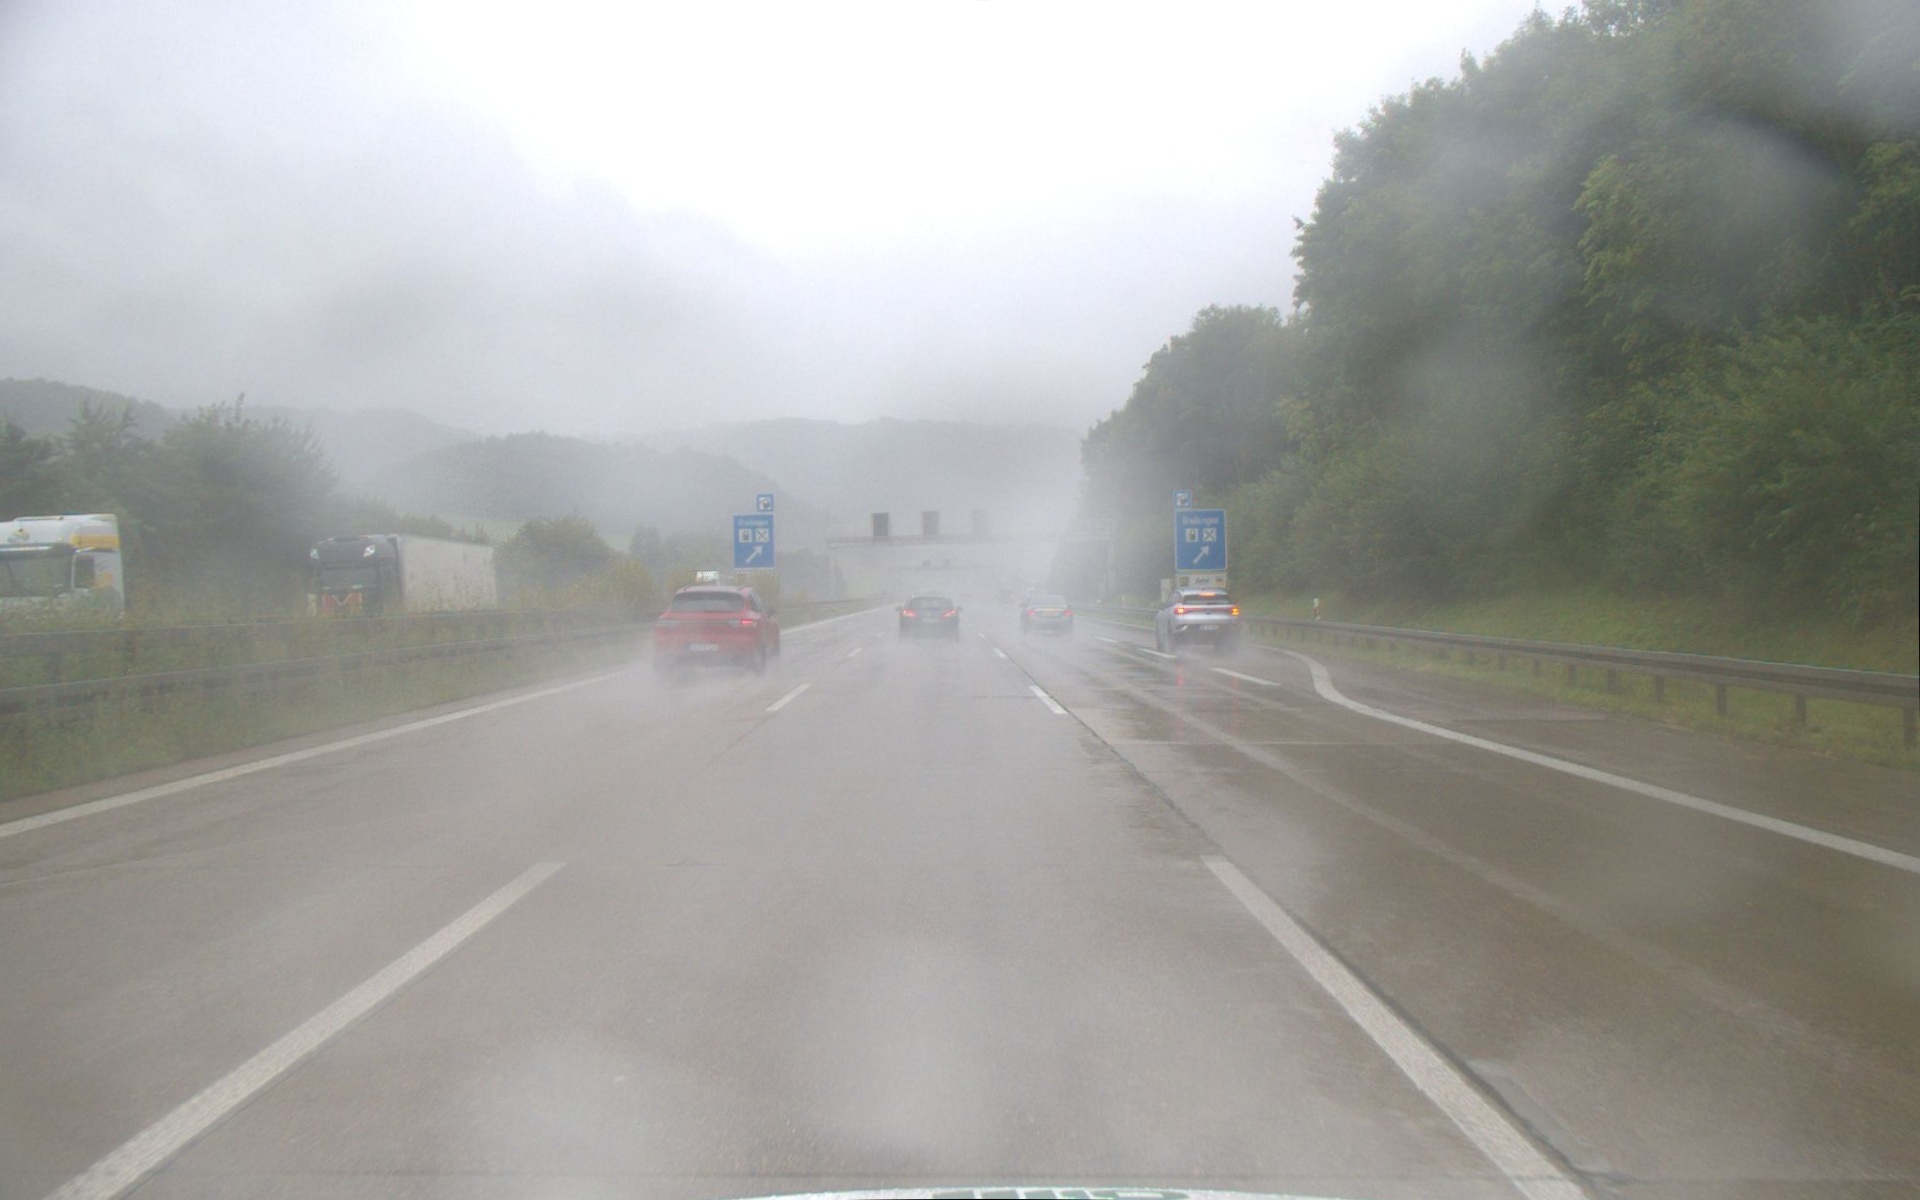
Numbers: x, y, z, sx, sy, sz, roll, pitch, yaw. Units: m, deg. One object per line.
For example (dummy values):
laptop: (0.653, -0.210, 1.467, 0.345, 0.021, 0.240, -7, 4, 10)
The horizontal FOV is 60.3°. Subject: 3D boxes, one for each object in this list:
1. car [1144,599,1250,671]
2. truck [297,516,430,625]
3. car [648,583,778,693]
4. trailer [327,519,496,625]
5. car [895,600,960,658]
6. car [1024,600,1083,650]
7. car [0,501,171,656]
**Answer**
car: (6.246, 0.890, 44.227, 1.953, 1.781, 5.661, 1, 0, -1)
truck: (-20.507, -0.987, 57.173, 2.758, 3.571, 5.727, 0, 0, -3)
car: (-4.361, 0.628, 29.716, 1.846, 1.847, 3.999, 0, 0, -2)
trailer: (-20.960, -0.948, 64.287, 2.796, 3.604, 13.697, 1, 0, -4)
car: (-0.950, 0.821, 49.025, 1.822, 1.617, 3.999, 1, 0, -1)
car: (3.455, 0.909, 61.624, 1.931, 1.791, 3.999, 0, 0, -1)
car: (-21.772, -0.475, 39.006, 2.741, 3.300, 7.599, 0, 0, -1)
